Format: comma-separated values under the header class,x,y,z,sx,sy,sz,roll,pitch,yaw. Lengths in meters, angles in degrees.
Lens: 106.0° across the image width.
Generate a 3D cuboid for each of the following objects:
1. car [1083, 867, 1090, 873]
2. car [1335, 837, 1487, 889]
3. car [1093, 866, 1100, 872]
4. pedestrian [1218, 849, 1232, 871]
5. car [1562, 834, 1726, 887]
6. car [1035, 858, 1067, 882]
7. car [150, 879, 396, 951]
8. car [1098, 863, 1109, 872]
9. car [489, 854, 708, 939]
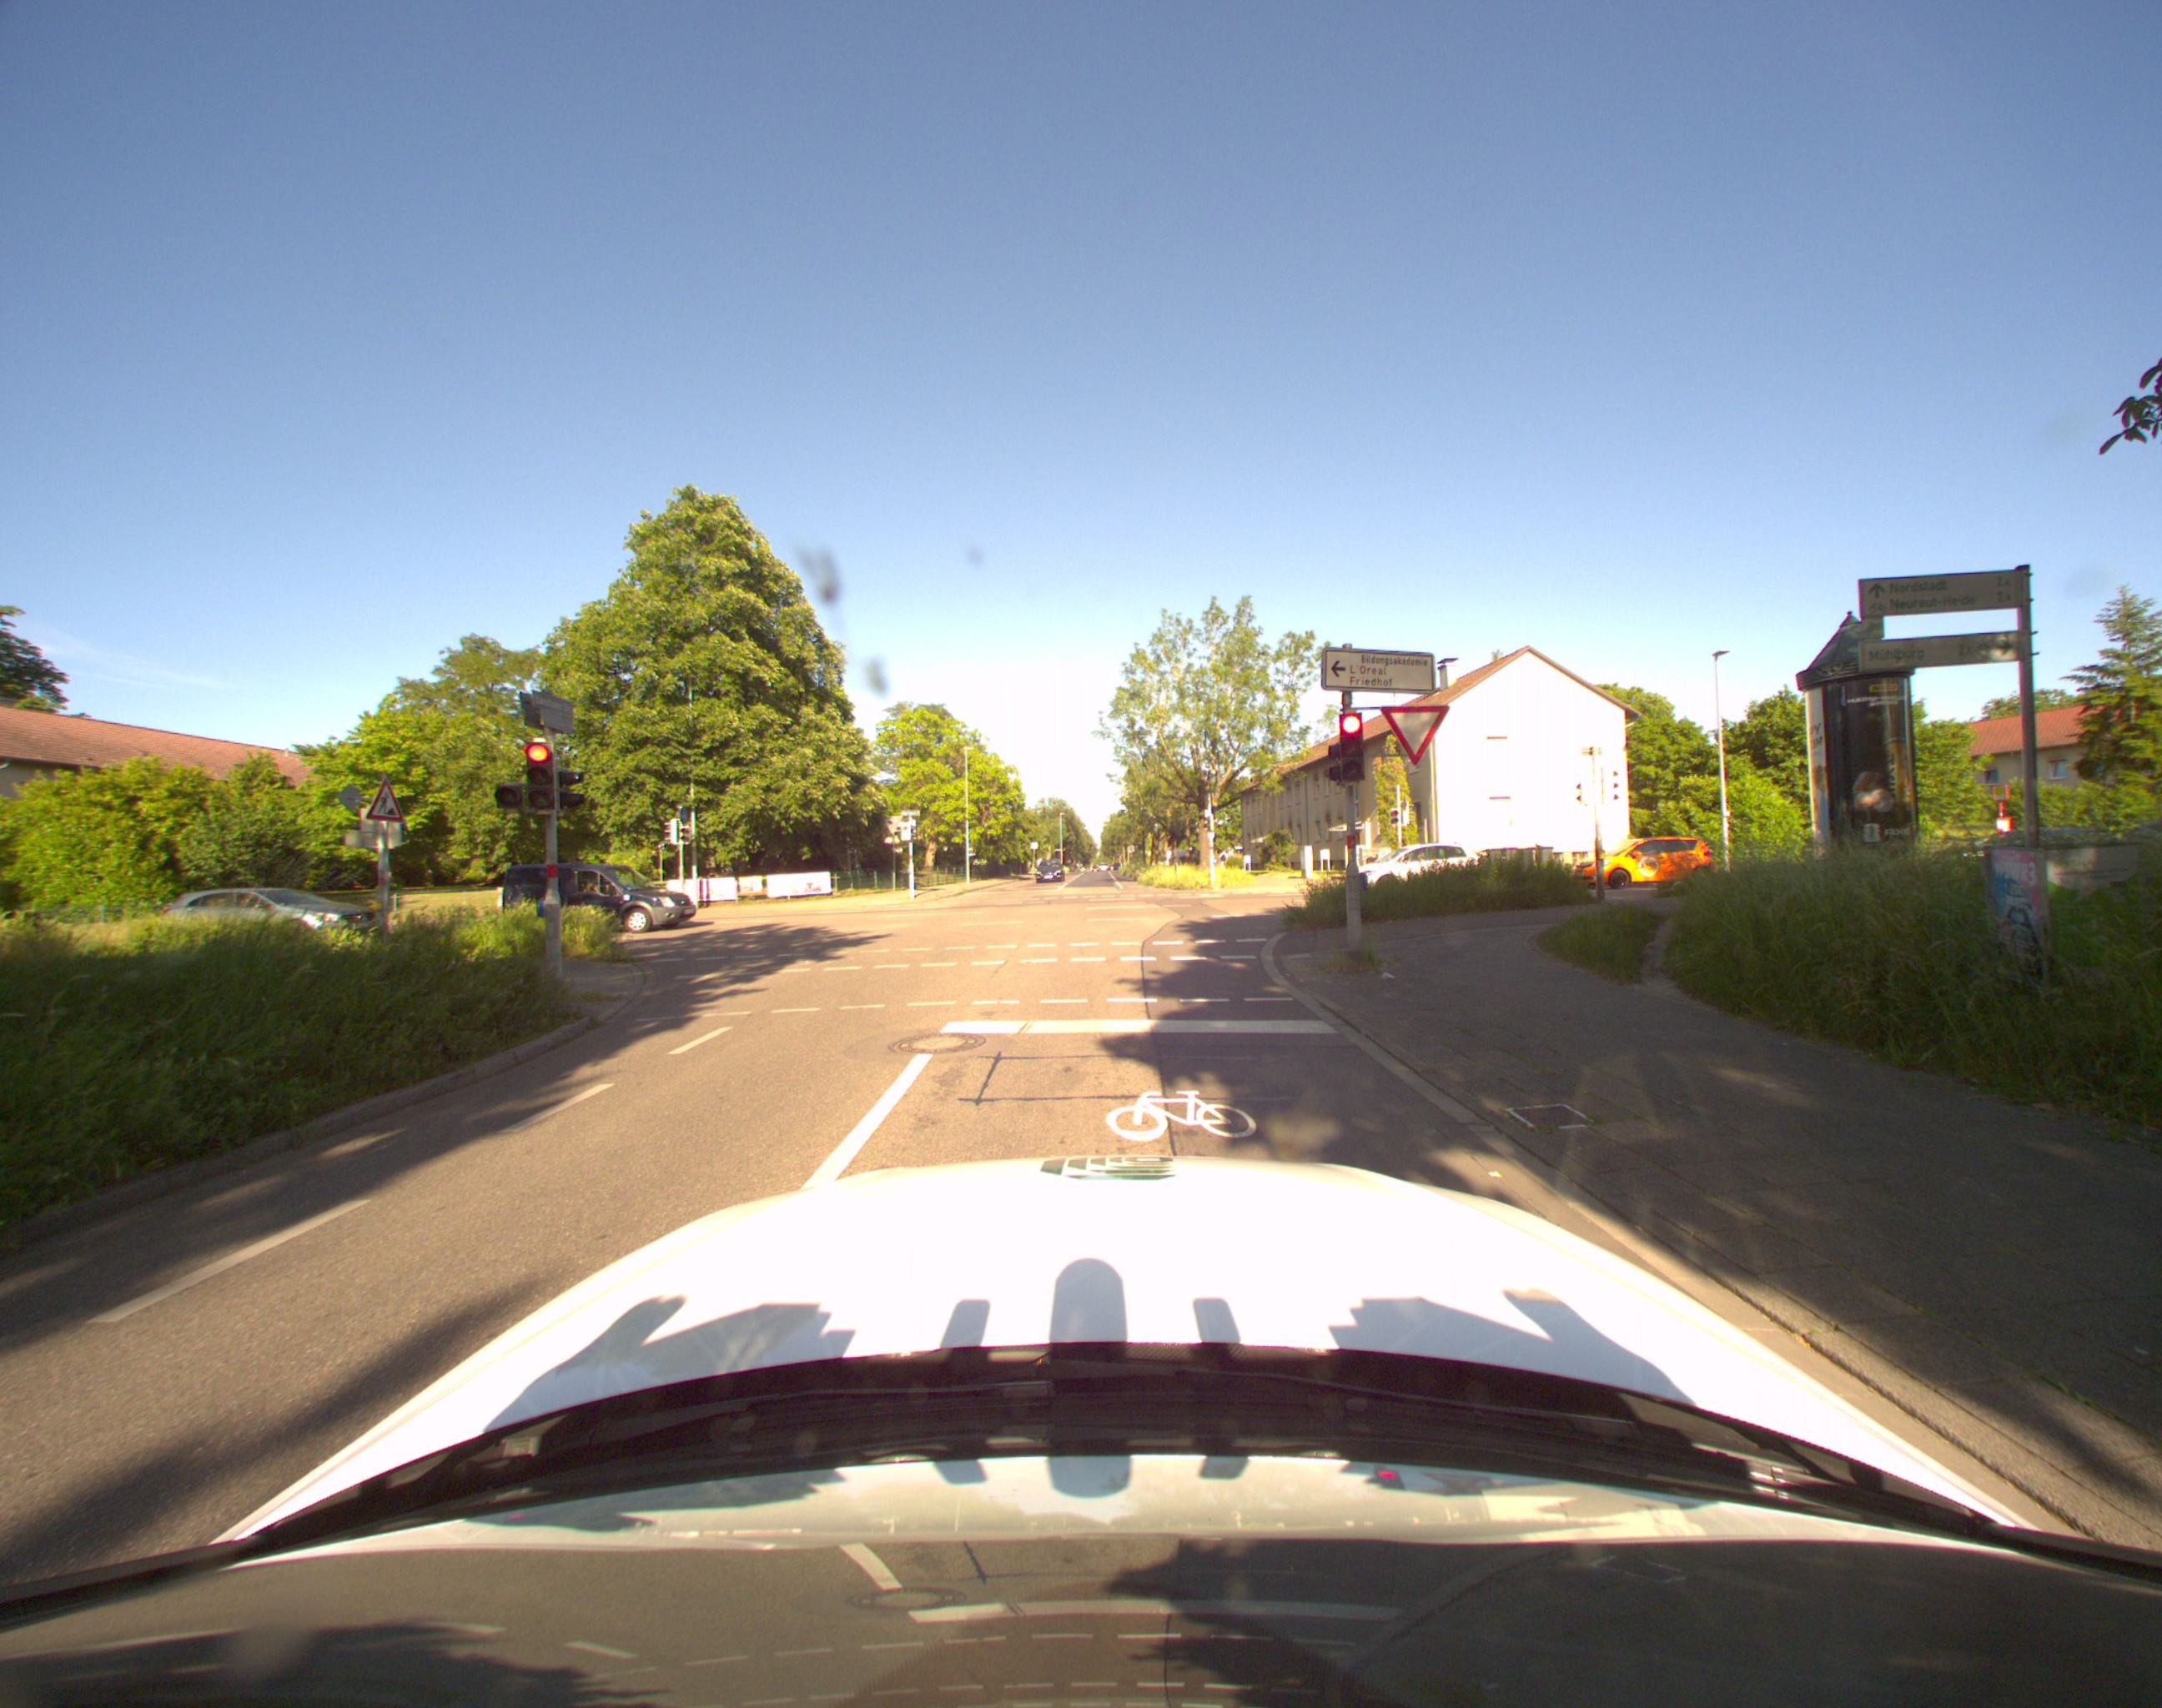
class,x,y,z,sx,sy,sz,roll,pitch,yaw
car,1.528,4.446,223.717,1.751,1.624,3.271,-2,0,3
car,10.378,0.273,25.807,4.095,1.563,1.756,0,-1,-1
car,4.354,4.070,225.616,1.751,1.624,3.271,-2,0,3
pedestrian,10.181,0.416,57.695,0.838,1.493,0.924,1,0,1
car,17.643,0.210,25.656,3.975,1.582,1.757,0,-1,-1
car,-1.853,1.007,51.334,1.704,1.385,3.473,-2,0,3
car,-20.526,1.518,20.848,4.270,1.489,1.913,-2,0,-1
car,3.883,2.285,139.188,1.838,1.461,3.531,-2,0,1
car,-12.060,1.025,20.598,4.334,1.887,1.858,-2,0,-3
